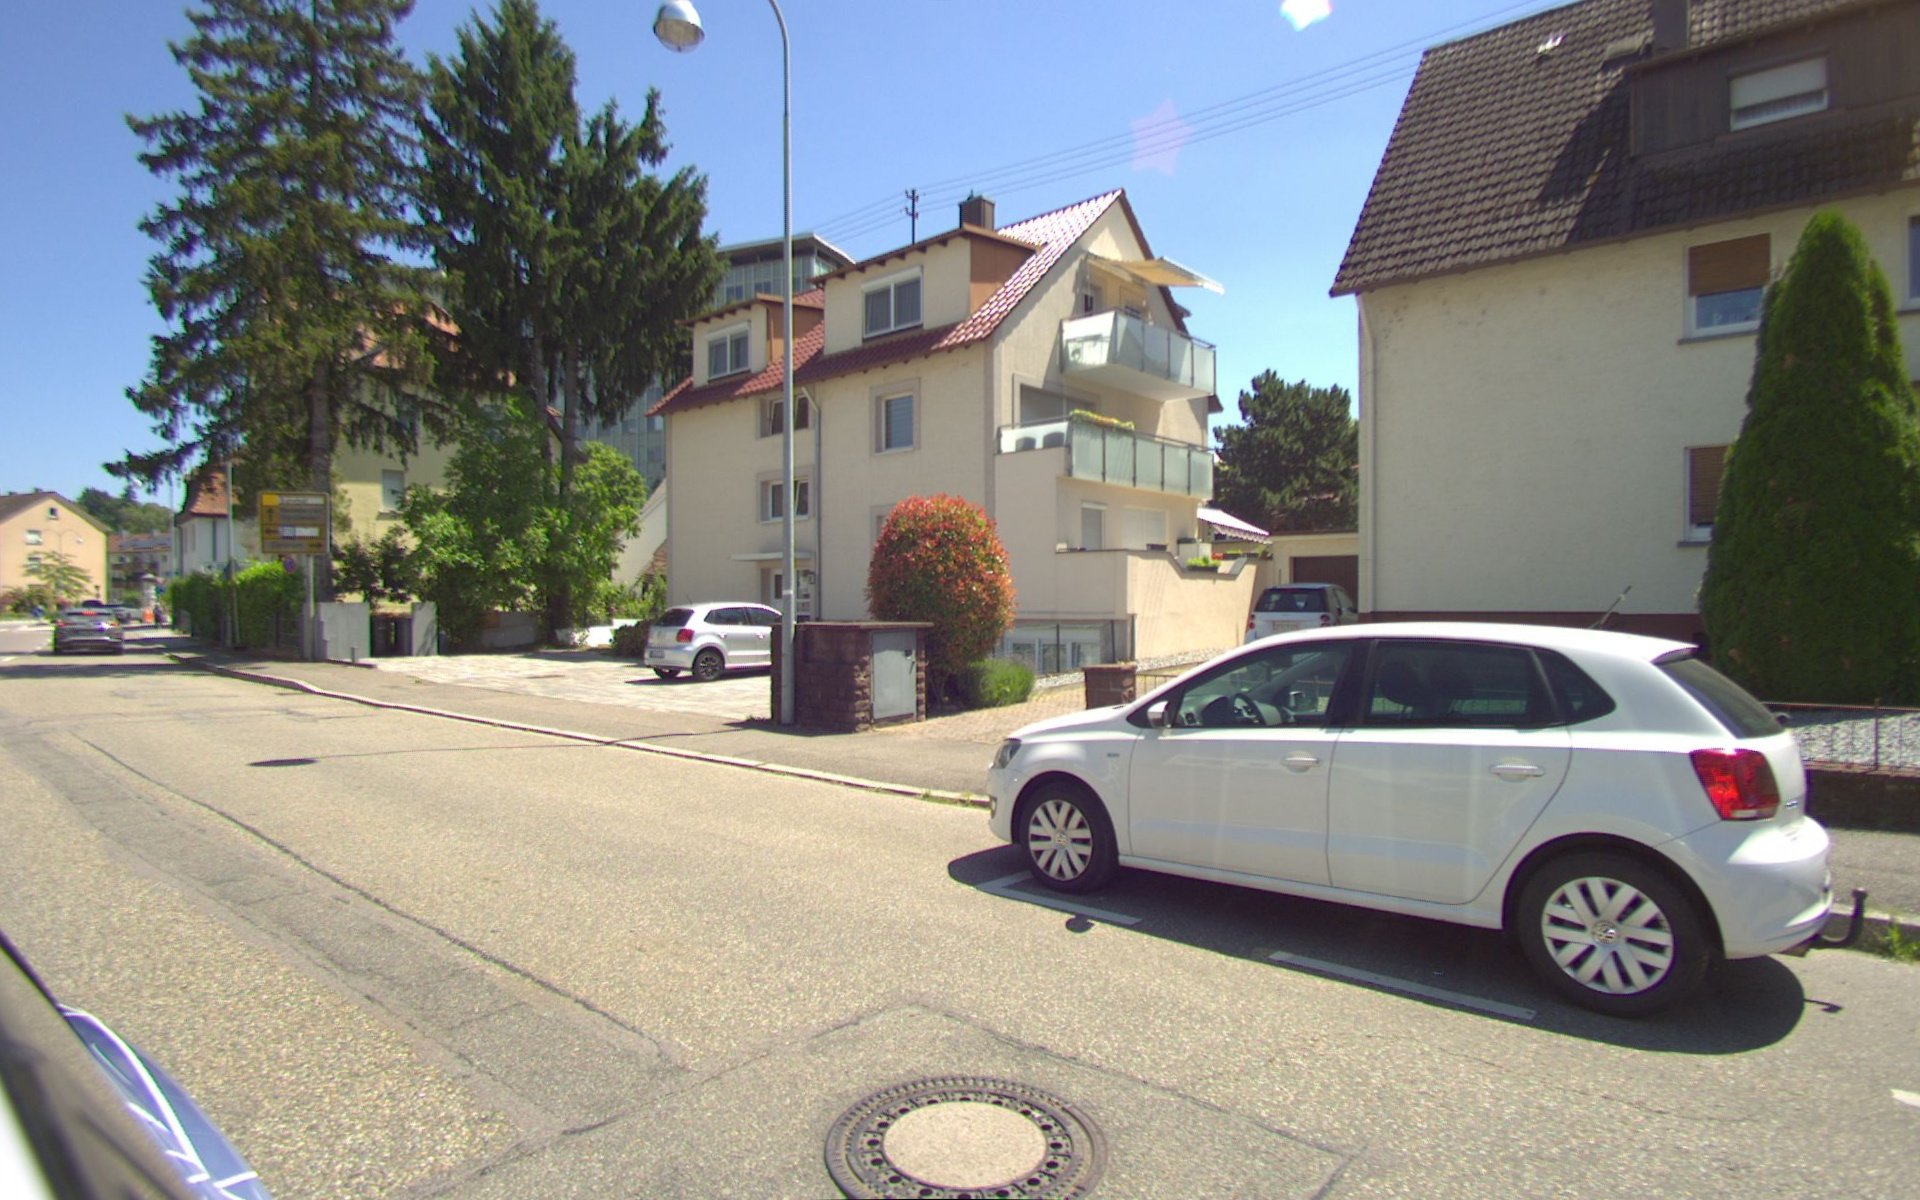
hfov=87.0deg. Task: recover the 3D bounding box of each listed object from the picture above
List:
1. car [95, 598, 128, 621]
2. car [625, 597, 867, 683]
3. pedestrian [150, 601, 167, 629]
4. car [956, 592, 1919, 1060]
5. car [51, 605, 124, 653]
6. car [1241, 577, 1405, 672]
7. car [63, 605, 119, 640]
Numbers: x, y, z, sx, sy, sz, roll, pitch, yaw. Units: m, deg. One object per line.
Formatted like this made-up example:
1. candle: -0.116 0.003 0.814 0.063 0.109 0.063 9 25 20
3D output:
1. car: -64.173 0.711 76.508 1.830 1.628 4.303 -1 1 -41
2. car: -4.146 0.700 20.146 4.417 1.452 1.848 -2 1 -45
3. pedestrian: -47.106 0.860 59.484 0.606 1.575 0.825 -7 5 -43
4. car: 1.974 0.747 5.010 3.938 1.434 1.562 -1 -3 41
5. car: -29.212 0.960 33.936 1.719 1.516 4.149 2 -2 -40
6. car: 6.679 0.378 18.397 1.645 1.548 3.747 -2 0 39
7. car: -39.093 1.004 45.503 1.784 1.500 4.392 2 -2 -41
